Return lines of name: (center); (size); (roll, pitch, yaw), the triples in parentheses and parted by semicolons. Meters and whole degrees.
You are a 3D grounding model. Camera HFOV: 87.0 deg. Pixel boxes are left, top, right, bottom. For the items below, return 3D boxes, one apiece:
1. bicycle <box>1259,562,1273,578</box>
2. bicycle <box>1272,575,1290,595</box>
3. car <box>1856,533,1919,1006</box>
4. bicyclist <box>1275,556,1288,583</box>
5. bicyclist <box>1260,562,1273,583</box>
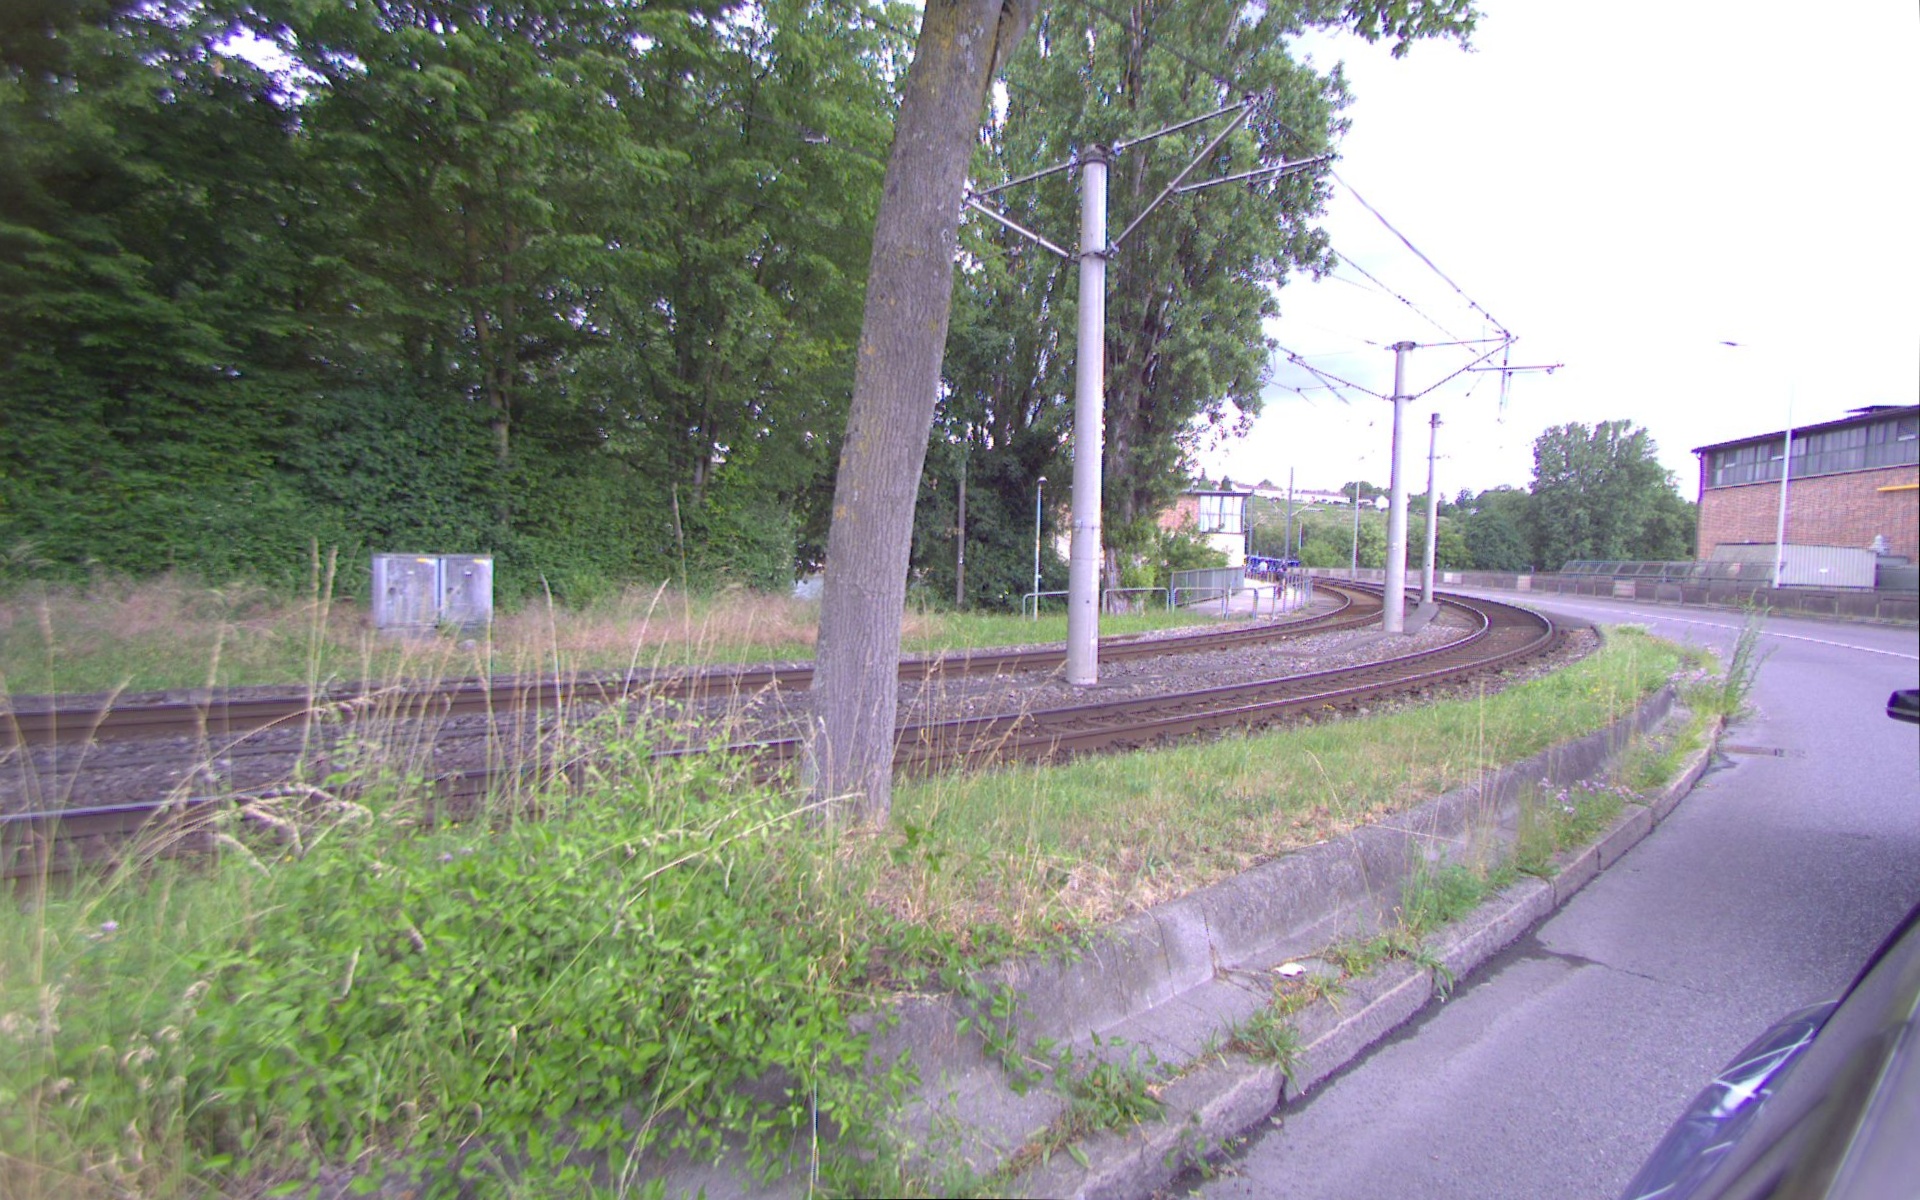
bicycle: (20.725, -2.026, 68.506); (0.419, 1.063, 2.078); (0, 1, 4)
bicycle: (13.252, -0.633, 41.753); (0.345, 0.804, 1.530); (2, 2, 31)
car: (5.293, 0.584, 4.265); (3.933, 1.641, 1.859); (-2, 4, -43)
bicyclist: (13.258, -1.246, 41.726); (0.414, 1.097, 0.469); (2, 2, 32)
bicyclist: (20.733, -1.846, 68.458); (0.585, 1.377, 0.910); (0, 1, 3)
